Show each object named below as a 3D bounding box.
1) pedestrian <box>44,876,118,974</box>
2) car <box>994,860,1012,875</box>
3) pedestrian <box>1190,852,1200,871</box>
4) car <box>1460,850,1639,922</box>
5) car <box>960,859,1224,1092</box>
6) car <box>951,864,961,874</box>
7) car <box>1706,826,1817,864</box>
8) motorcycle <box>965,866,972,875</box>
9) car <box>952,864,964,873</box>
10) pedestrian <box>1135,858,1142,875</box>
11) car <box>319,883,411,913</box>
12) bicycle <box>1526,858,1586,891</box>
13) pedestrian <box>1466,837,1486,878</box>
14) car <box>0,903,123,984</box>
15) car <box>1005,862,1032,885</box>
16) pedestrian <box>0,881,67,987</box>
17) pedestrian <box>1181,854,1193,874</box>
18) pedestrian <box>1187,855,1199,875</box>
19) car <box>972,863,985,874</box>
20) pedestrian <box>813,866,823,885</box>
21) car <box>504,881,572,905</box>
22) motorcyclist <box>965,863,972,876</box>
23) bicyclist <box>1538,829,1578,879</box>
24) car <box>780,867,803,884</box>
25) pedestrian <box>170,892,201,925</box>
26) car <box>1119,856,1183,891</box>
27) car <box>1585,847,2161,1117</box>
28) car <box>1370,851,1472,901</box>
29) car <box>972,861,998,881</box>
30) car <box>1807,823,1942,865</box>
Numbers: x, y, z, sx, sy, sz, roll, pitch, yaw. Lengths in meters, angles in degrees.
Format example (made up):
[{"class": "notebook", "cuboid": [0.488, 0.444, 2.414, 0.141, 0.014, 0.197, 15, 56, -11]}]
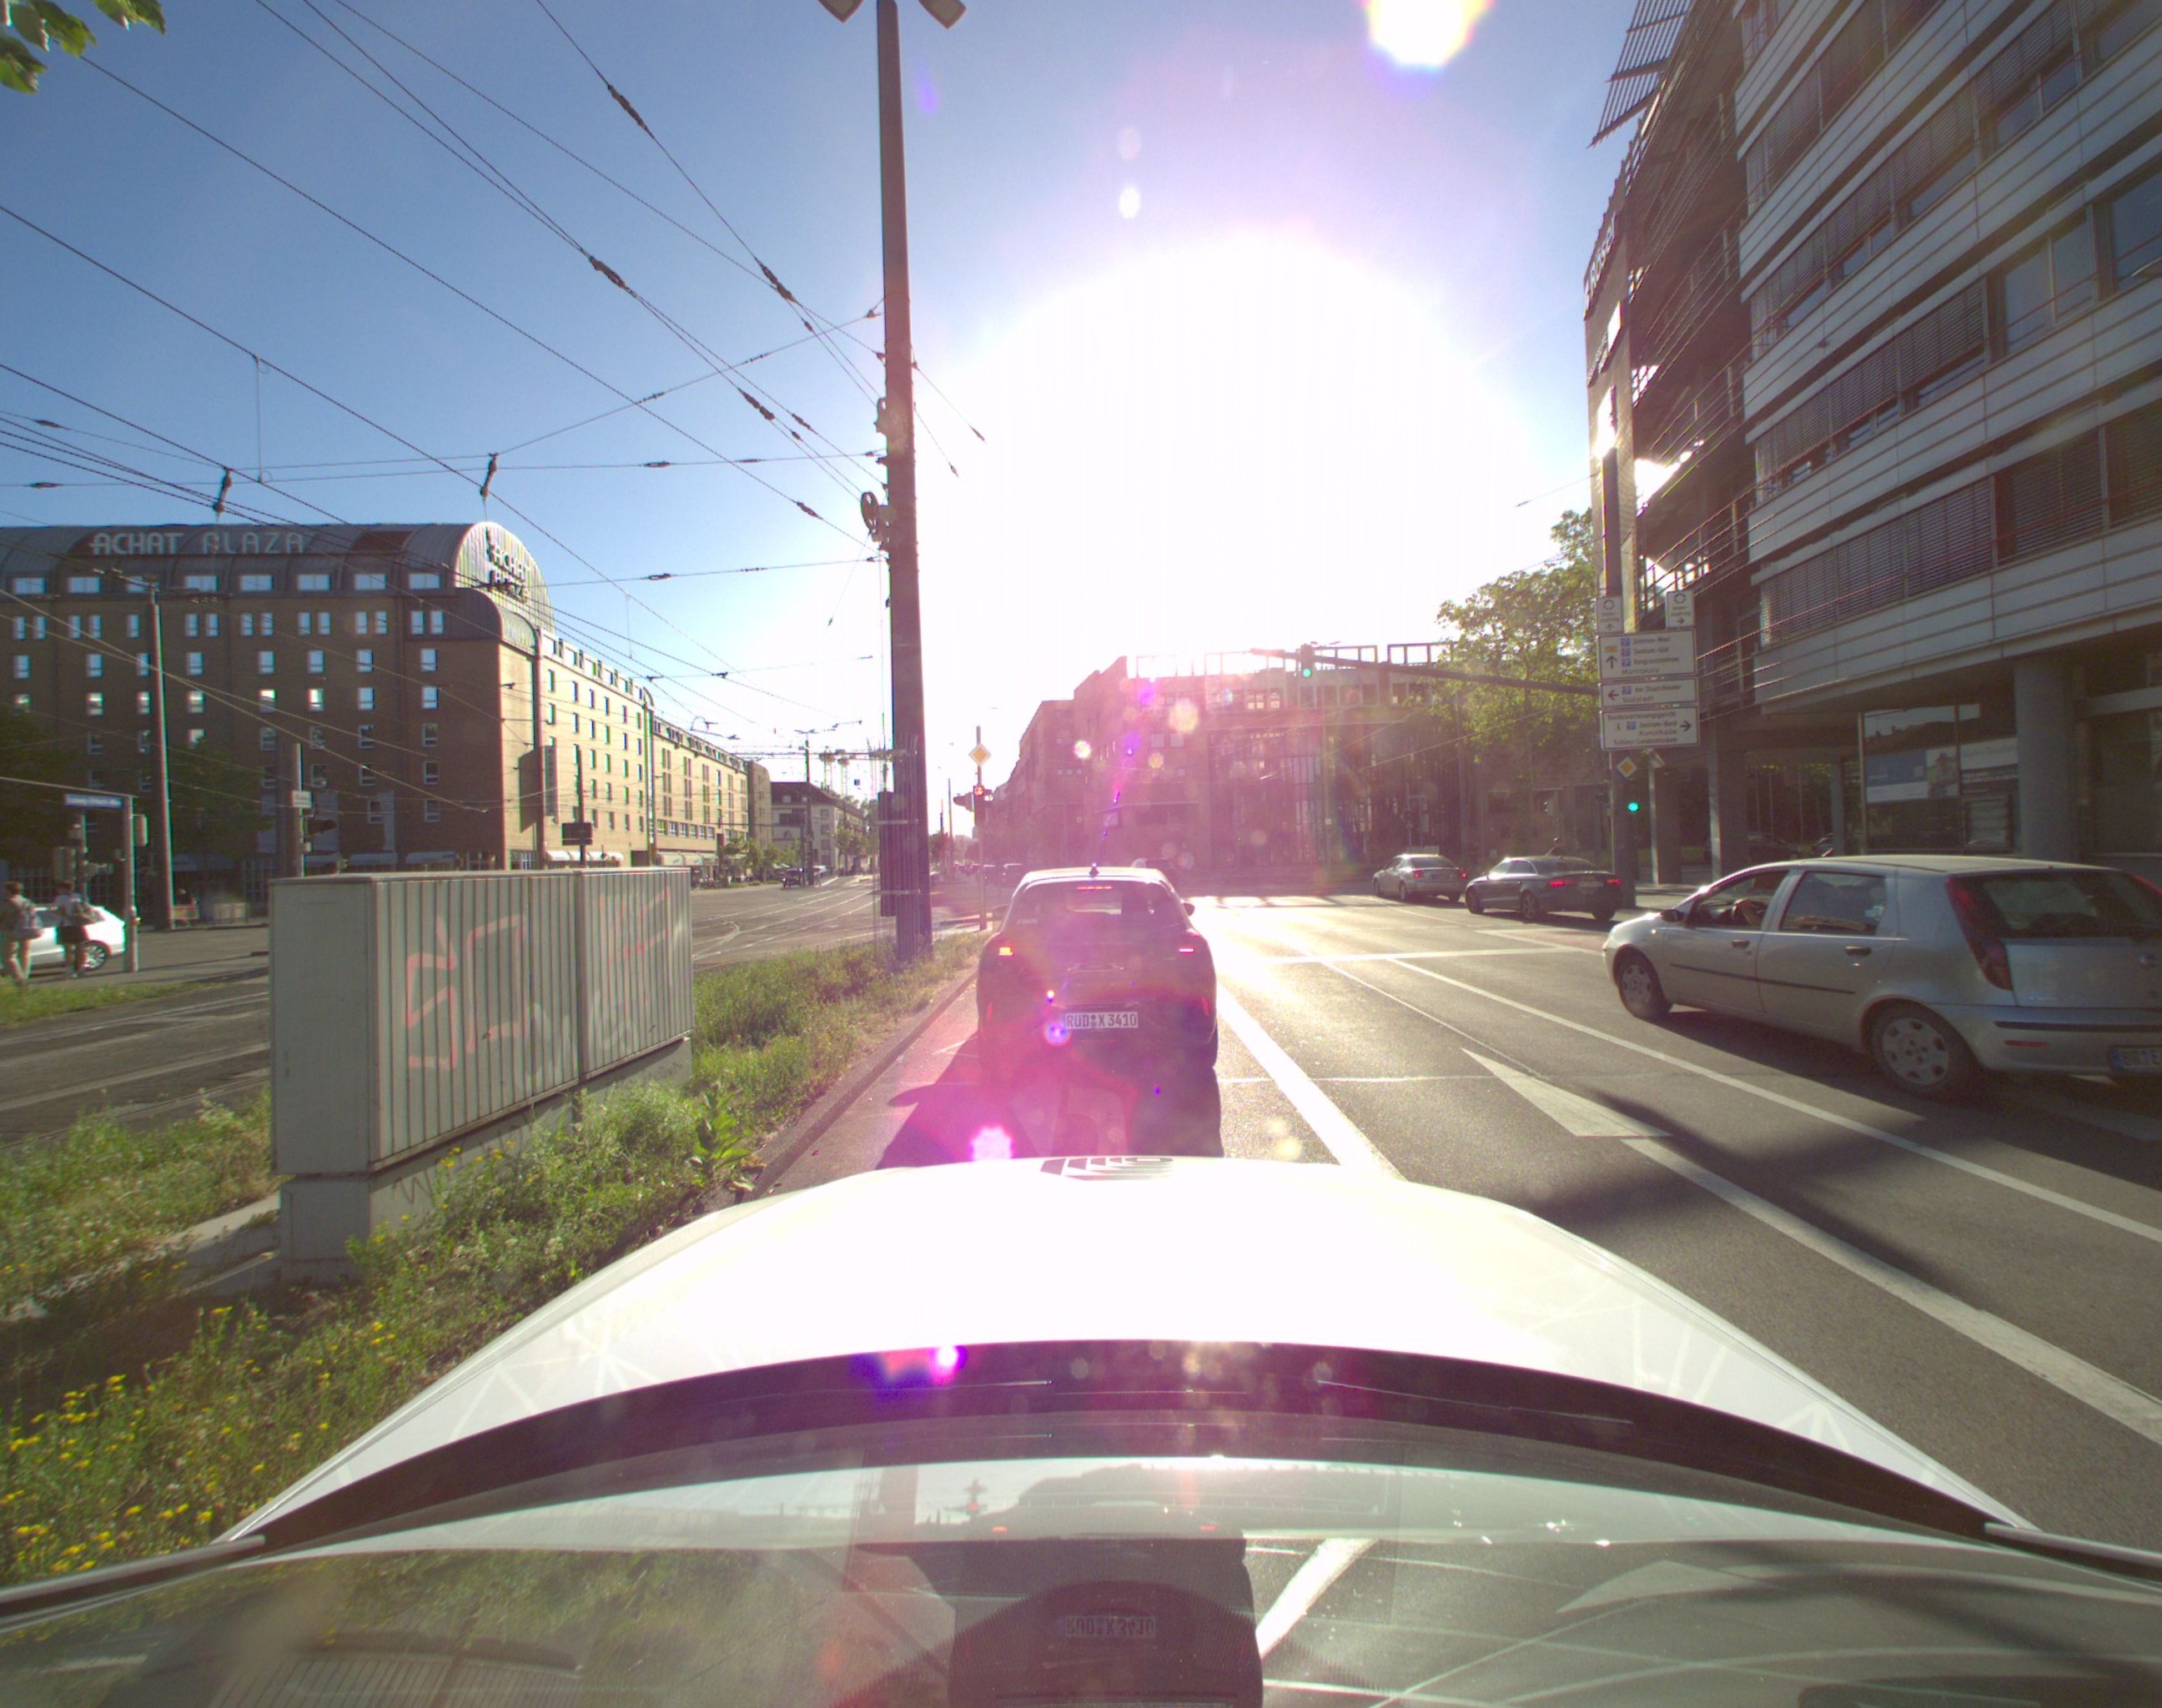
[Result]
[{"class": "pedestrian", "cuboid": [-19.283, 1.344, 15.723, 0.562, 1.817, 0.662, -2, 0, -5]}, {"class": "car", "cuboid": [-8.255, 1.415, 86.207, 1.804, 1.457, 3.994, -1, 0, -4]}, {"class": "pedestrian", "cuboid": [9.631, 0.633, 68.708, 0.733, 1.617, 0.562, -2, 0, 10]}, {"class": "car", "cuboid": [10.472, 0.653, 18.592, 1.704, 1.441, 4.110, -1, 0, 0]}, {"class": "car", "cuboid": [0.175, 0.792, 7.197, 1.642, 1.433, 4.003, -2, 0, 3]}, {"class": "car", "cuboid": [-22.365, 2.669, 146.077, 1.737, 1.651, 3.987, -2, 0, -9]}, {"class": "car", "cuboid": [32.506, -0.419, 38.946, 4.451, 1.629, 1.686, -2, 0, -12]}, {"class": "motorcycle", "cuboid": [-13.821, 2.028, 99.934, 0.774, 1.115, 1.964, -2, 0, -7]}, {"class": "car", "cuboid": [-19.891, 2.309, 131.560, 1.737, 1.349, 3.986, -2, 0, -10]}, {"class": "pedestrian", "cuboid": [5.090, 1.078, 71.814, 0.527, 1.430, 0.598, -2, 0, 1]}, {"class": "car", "cuboid": [-43.487, 2.656, 49.511, 3.975, 1.550, 1.759, -2, 0, -1]}, {"class": "bicycle", "cuboid": [15.461, 0.652, 26.587, 0.498, 1.032, 2.202, -2, 0, -5]}, {"class": "pedestrian", "cuboid": [17.546, 0.159, 36.183, 0.700, 1.759, 0.564, -2, -1, 27]}, {"class": "car", "cuboid": [-21.752, 1.825, 15.831, 1.569, 1.449, 3.996, -2, 0, -3]}, {"class": "car", "cuboid": [-4.141, 1.262, 53.695, 1.683, 1.433, 4.146, -2, 0, -5]}, {"class": "pedestrian", "cuboid": [-19.094, 1.431, 14.726, 0.630, 1.830, 0.662, -2, 0, -5]}, {"class": "pedestrian", "cuboid": [8.800, 0.798, 67.745, 0.894, 1.617, 0.562, -2, 0, 10]}, {"class": "pedestrian", "cuboid": [9.178, 0.878, 66.989, 0.894, 1.617, 0.562, -2, 0, 10]}, {"class": "car", "cuboid": [-14.856, 2.102, 118.552, 1.805, 1.457, 3.991, -1, 0, -6]}, {"class": "pedestrian", "cuboid": [-23.322, 1.916, 72.297, 0.742, 1.640, 0.765, -2, 0, -11]}, {"class": "car", "cuboid": [-36.889, 2.651, 55.437, 1.747, 1.388, 4.003, -2, 0, 3]}, {"class": "motorcyclist", "cuboid": [-13.816, 1.853, 100.076, 0.744, 1.530, 1.019, -2, 0, -6]}, {"class": "bicyclist", "cuboid": [15.479, 0.005, 26.438, 0.623, 1.566, 1.041, -1, -1, -5]}, {"class": "car", "cuboid": [-28.179, 2.043, 79.355, 1.748, 1.505, 3.860, -2, 0, -15]}, {"class": "pedestrian", "cuboid": [-42.025, 2.539, 38.220, 0.674, 1.503, 0.659, -2, 0, -1]}, {"class": "car", "cuboid": [3.246, 0.912, 38.684, 1.748, 1.505, 3.859, -2, 0, -16]}, {"class": "car", "cuboid": [5.818, 0.689, 6.235, 1.611, 1.429, 3.767, -1, 0, 1]}, {"class": "car", "cuboid": [10.996, 0.672, 26.680, 1.743, 1.431, 4.494, -2, 0, 4]}, {"class": "car", "cuboid": [-8.090, 1.420, 68.985, 1.807, 1.492, 4.490, -2, 0, -3]}, {"class": "car", "cuboid": [32.673, -0.387, 33.594, 3.981, 1.651, 1.861, -1, 0, -6]}]
